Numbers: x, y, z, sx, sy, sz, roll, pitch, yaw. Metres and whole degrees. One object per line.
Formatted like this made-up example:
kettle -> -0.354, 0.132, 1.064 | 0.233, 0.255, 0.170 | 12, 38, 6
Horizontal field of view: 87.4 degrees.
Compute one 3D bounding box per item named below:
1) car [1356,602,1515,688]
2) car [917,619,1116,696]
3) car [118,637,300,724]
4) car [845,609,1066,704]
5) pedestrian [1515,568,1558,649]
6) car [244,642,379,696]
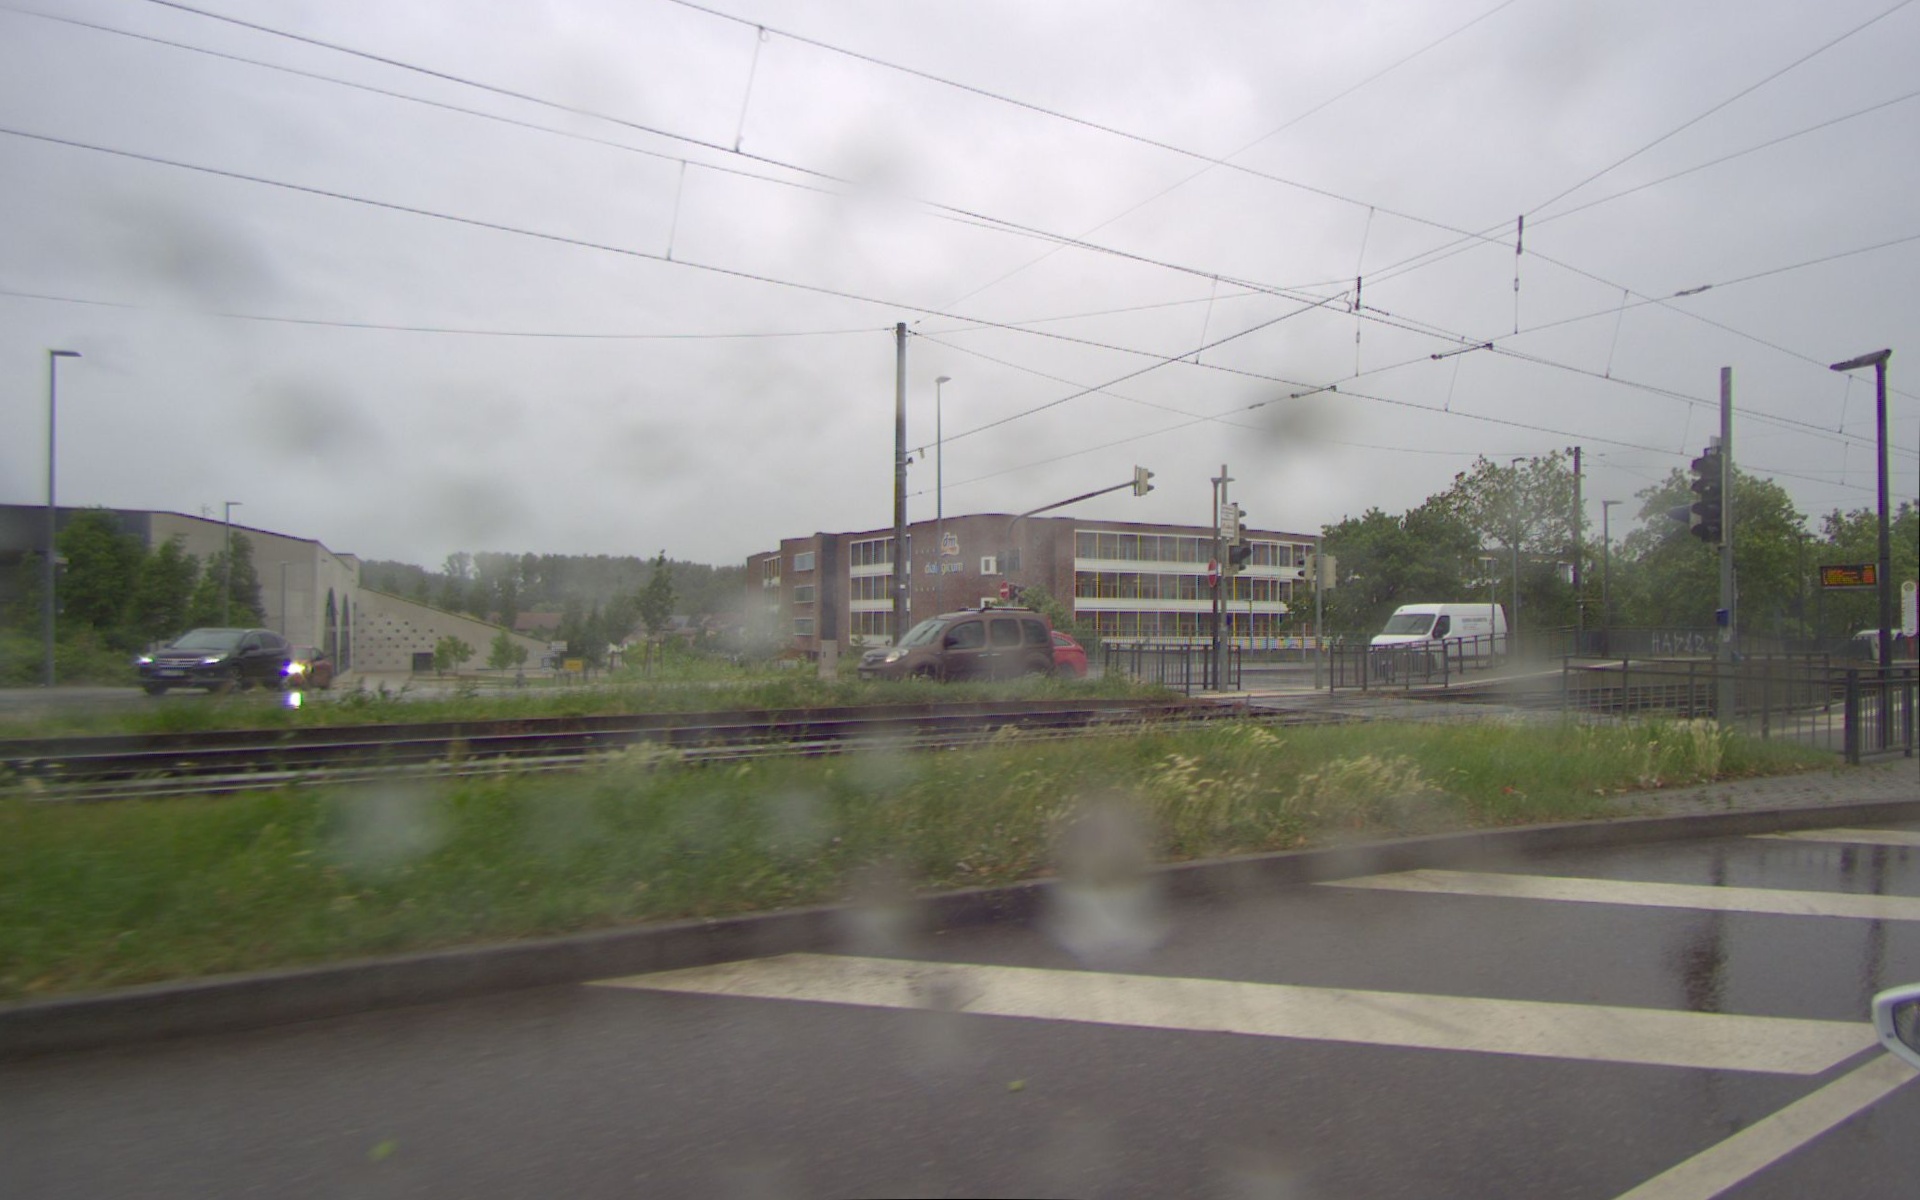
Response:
car -> 16.406, 1.514, 34.553 | 5.671, 2.748, 2.109 | 1, -1, -30
car -> 1.411, 1.368, 24.736 | 4.571, 1.729, 1.984 | 1, -1, -30
car -> -18.567, 1.935, 25.078 | 1.964, 1.884, 3.994 | 1, -1, -9
car -> -0.073, 1.131, 20.985 | 4.208, 1.795, 1.984 | 1, -1, -30
pedestrian -> 29.765, 0.462, 51.865 | 1.490, 4.082, 1.172 | 1, -1, -2
car -> -20.430, 2.140, 31.888 | 1.964, 1.461, 4.367 | 1, -1, -9
